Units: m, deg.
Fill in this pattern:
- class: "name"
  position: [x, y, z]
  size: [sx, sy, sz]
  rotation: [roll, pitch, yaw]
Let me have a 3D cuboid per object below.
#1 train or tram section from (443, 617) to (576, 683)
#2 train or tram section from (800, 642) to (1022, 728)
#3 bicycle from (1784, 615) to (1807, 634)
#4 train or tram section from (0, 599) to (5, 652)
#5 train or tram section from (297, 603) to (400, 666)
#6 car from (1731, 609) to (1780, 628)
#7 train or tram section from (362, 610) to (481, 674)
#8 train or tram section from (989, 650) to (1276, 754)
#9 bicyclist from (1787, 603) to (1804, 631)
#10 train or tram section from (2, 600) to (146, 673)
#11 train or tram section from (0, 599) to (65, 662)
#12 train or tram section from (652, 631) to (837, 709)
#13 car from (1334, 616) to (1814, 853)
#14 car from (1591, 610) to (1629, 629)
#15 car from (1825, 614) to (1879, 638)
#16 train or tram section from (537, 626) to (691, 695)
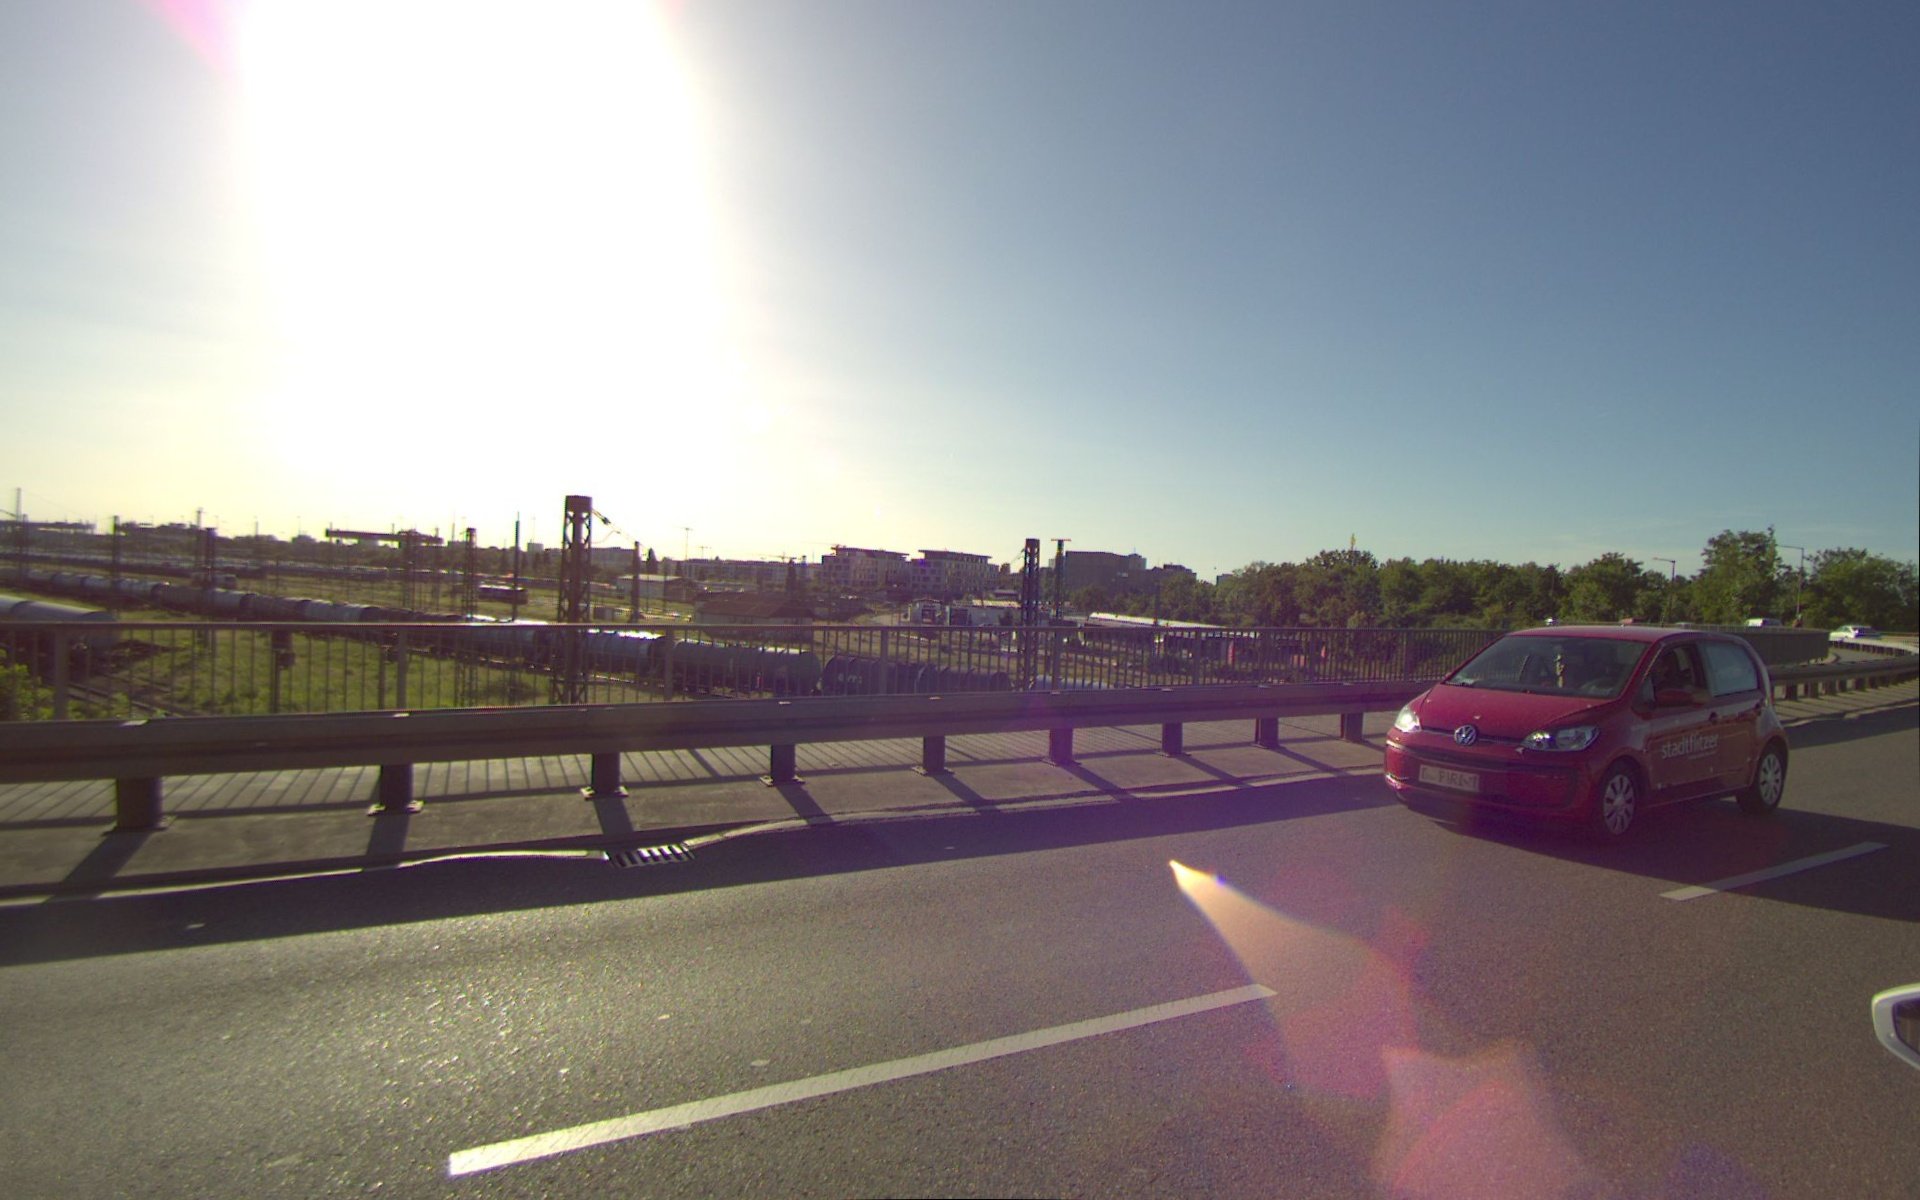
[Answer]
- class: "train or tram section"
  position: [-43.407, 4.631, 96.264]
  size: [16.231, 5.592, 3.893]
  rotation: [1, 0, 35]
- class: "train or tram section"
  position: [-3.640, 5.505, 68.275]
  size: [16.042, 4.652, 3.893]
  rotation: [1, 0, 35]
- class: "bicycle"
  position: [48.607, 1.403, 58.448]
  size: [0.644, 1.079, 1.887]
  rotation: [1, 0, 29]
- class: "train or tram section"
  position: [-101.644, 2.387, 101.316]
  size: [17.567, 5.154, 4.037]
  rotation: [1, 0, 34]
- class: "train or tram section"
  position: [-70.308, 3.780, 115.217]
  size: [16.231, 6.699, 3.893]
  rotation: [1, 0, 35]
- class: "car"
  position: [70.817, 1.642, 89.453]
  size: [1.804, 1.576, 3.896]
  rotation: [1, 0, 10]
- class: "train or tram section"
  position: [-56.851, 4.242, 105.727]
  size: [16.679, 6.089, 3.893]
  rotation: [1, 0, 35]
- class: "train or tram section"
  position: [9.683, 5.654, 58.905]
  size: [16.491, 4.652, 3.893]
  rotation: [1, 0, 35]
- class: "bicyclist"
  position: [48.597, 0.994, 58.420]
  size: [0.644, 1.610, 0.767]
  rotation: [1, 0, 30]
- class: "train or tram section"
  position: [-71.666, 2.724, 80.944]
  size: [19.027, 5.154, 4.037]
  rotation: [1, 0, 34]
- class: "train or tram section"
  position: [-86.926, 2.553, 91.343]
  size: [17.881, 5.154, 4.037]
  rotation: [1, 0, 34]
- class: "train or tram section"
  position: [-16.933, 5.166, 77.615]
  size: [16.391, 5.083, 3.893]
  rotation: [1, 0, 35]
- class: "car"
  position: [4.981, 0.879, 8.047]
  size: [3.832, 1.456, 1.772]
  rotation: [1, 0, -32]
- class: "car"
  position: [73.211, 2.187, 113.246]
  size: [1.923, 1.976, 4.002]
  rotation: [1, 0, 4]
- class: "car"
  position: [65.082, 1.864, 73.321]
  size: [1.830, 1.606, 3.912]
  rotation: [1, 0, 24]
- class: "train or tram section"
  position: [-30.197, 5.019, 86.976]
  size: [16.095, 5.083, 3.893]
  rotation: [1, 0, 35]
